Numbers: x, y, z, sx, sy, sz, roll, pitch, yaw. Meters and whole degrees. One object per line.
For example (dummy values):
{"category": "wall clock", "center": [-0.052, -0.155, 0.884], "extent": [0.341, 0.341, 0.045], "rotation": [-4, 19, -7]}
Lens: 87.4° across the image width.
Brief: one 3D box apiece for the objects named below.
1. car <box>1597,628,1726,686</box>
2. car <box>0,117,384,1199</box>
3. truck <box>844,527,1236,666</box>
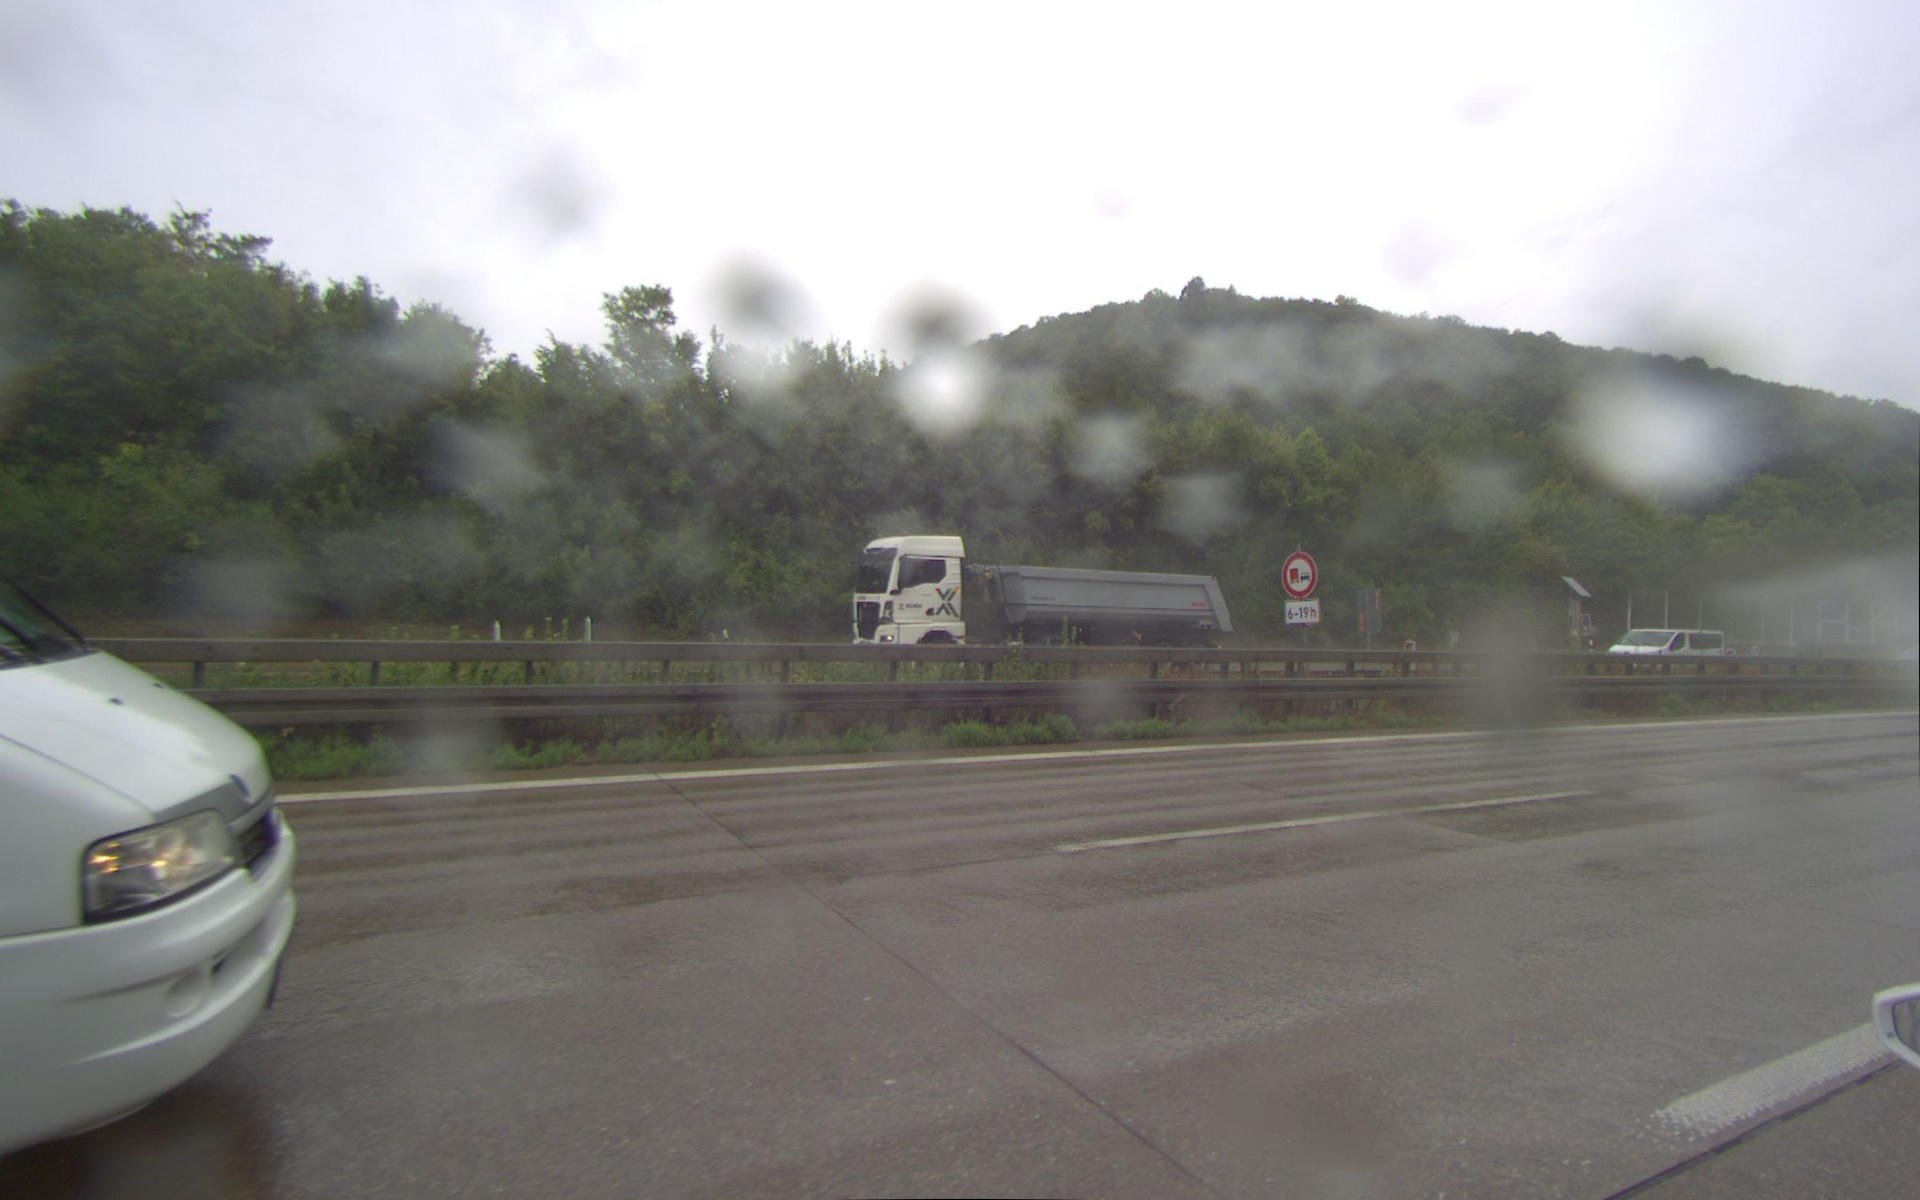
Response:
{"category": "car", "center": [26.819, 2.170, 38.363], "extent": [5.135, 2.040, 1.968], "rotation": [2, 0, -29]}
{"category": "car", "center": [-4.321, 0.217, 1.709], "extent": [5.723, 2.464, 1.988], "rotation": [2, -1, -30]}
{"category": "truck", "center": [2.564, 0.063, 28.309], "extent": [11.375, 3.359, 2.762], "rotation": [2, -1, -29]}
